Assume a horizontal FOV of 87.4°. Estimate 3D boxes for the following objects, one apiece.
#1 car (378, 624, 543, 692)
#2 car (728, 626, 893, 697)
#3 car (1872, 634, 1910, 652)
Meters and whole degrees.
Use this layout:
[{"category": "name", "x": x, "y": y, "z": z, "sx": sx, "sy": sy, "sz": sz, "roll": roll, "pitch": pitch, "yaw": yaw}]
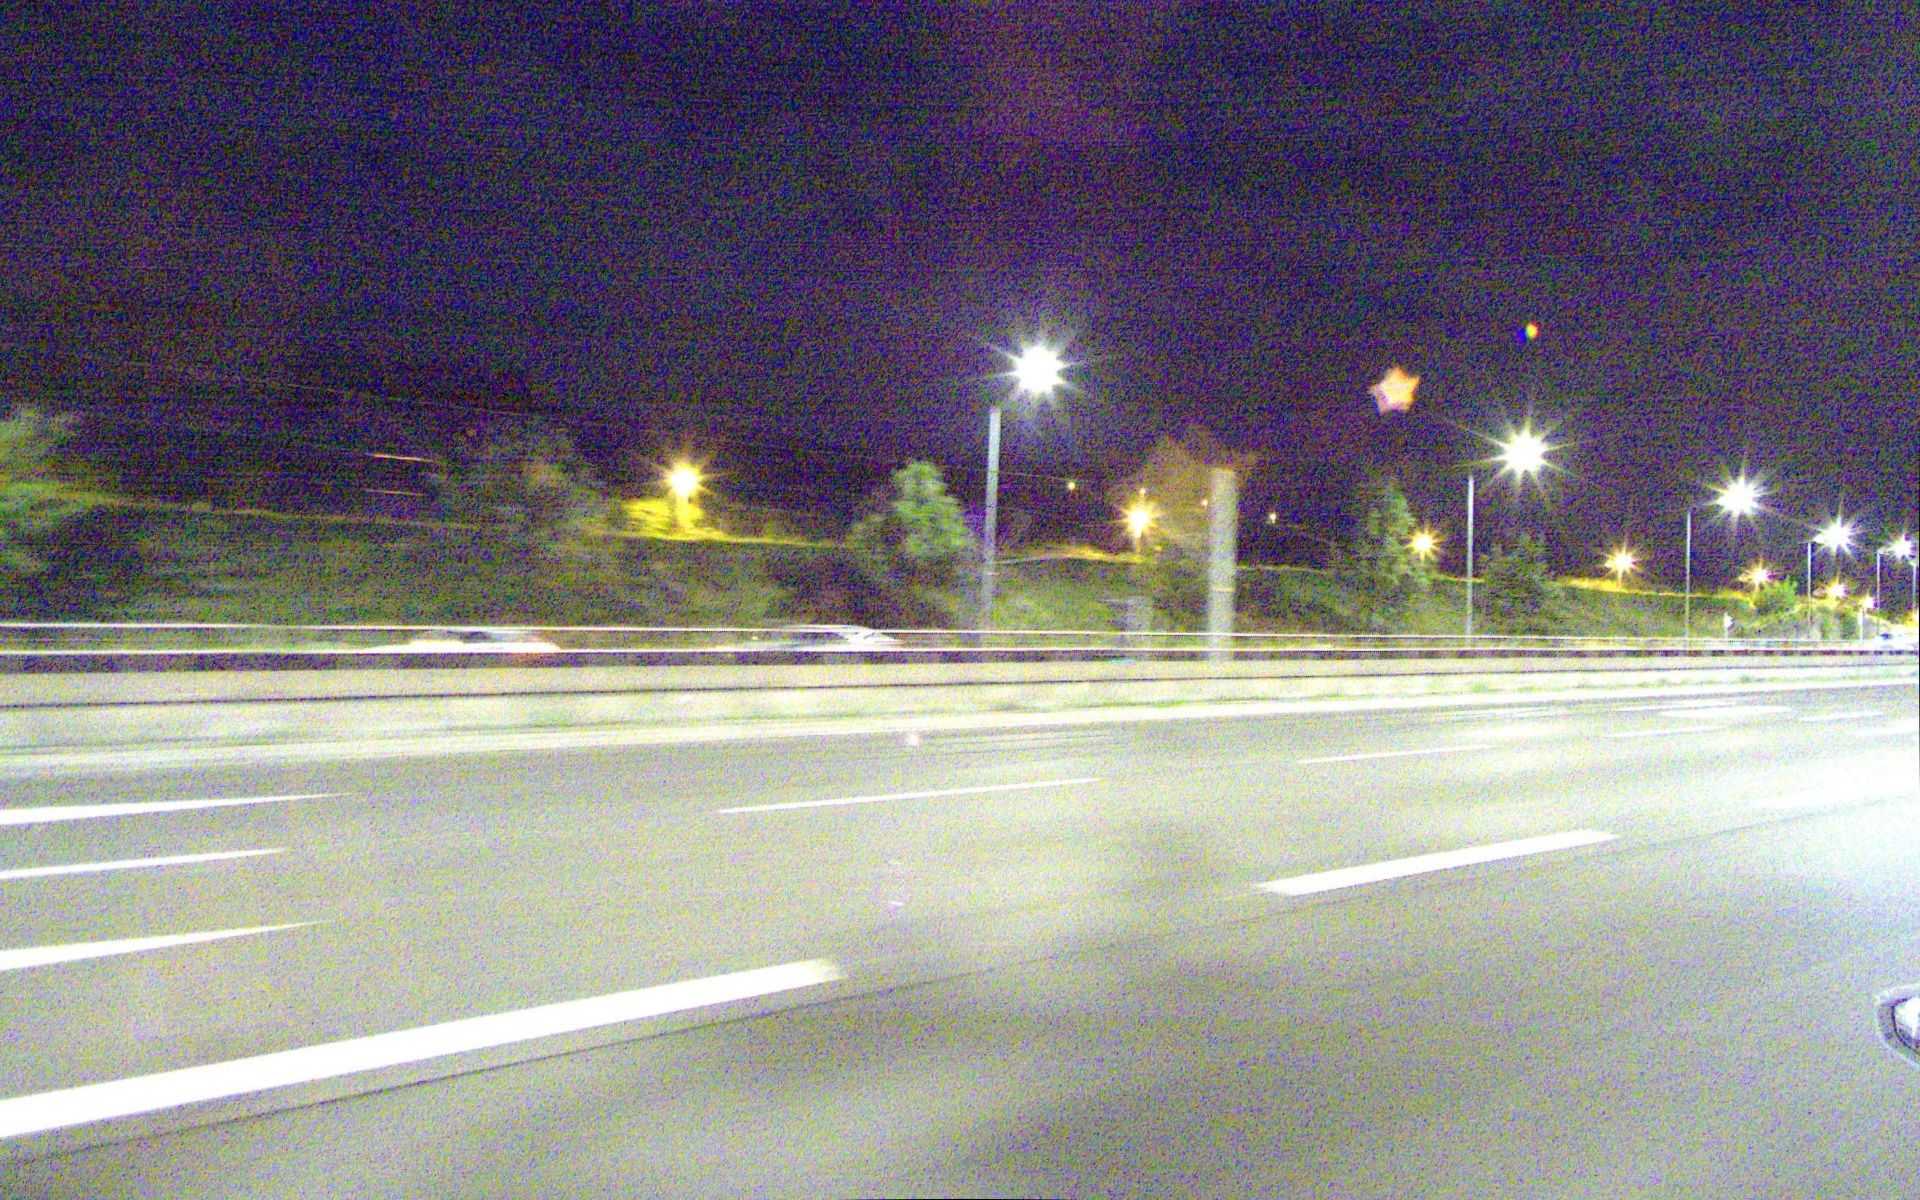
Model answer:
[{"category": "car", "x": -13.901, "y": 1.577, "z": 28.015, "sx": 3.956, "sy": 1.707, "sz": 1.821, "roll": 2, "pitch": 0, "yaw": -32}, {"category": "car", "x": -3.960, "y": 1.611, "z": 26.739, "sx": 3.954, "sy": 1.717, "sz": 1.791, "roll": 2, "pitch": 0, "yaw": -31}, {"category": "car", "x": 85.865, "y": 3.941, "z": 92.636, "sx": 3.636, "sy": 1.500, "sz": 1.618, "roll": 3, "pitch": -1, "yaw": -30}]
